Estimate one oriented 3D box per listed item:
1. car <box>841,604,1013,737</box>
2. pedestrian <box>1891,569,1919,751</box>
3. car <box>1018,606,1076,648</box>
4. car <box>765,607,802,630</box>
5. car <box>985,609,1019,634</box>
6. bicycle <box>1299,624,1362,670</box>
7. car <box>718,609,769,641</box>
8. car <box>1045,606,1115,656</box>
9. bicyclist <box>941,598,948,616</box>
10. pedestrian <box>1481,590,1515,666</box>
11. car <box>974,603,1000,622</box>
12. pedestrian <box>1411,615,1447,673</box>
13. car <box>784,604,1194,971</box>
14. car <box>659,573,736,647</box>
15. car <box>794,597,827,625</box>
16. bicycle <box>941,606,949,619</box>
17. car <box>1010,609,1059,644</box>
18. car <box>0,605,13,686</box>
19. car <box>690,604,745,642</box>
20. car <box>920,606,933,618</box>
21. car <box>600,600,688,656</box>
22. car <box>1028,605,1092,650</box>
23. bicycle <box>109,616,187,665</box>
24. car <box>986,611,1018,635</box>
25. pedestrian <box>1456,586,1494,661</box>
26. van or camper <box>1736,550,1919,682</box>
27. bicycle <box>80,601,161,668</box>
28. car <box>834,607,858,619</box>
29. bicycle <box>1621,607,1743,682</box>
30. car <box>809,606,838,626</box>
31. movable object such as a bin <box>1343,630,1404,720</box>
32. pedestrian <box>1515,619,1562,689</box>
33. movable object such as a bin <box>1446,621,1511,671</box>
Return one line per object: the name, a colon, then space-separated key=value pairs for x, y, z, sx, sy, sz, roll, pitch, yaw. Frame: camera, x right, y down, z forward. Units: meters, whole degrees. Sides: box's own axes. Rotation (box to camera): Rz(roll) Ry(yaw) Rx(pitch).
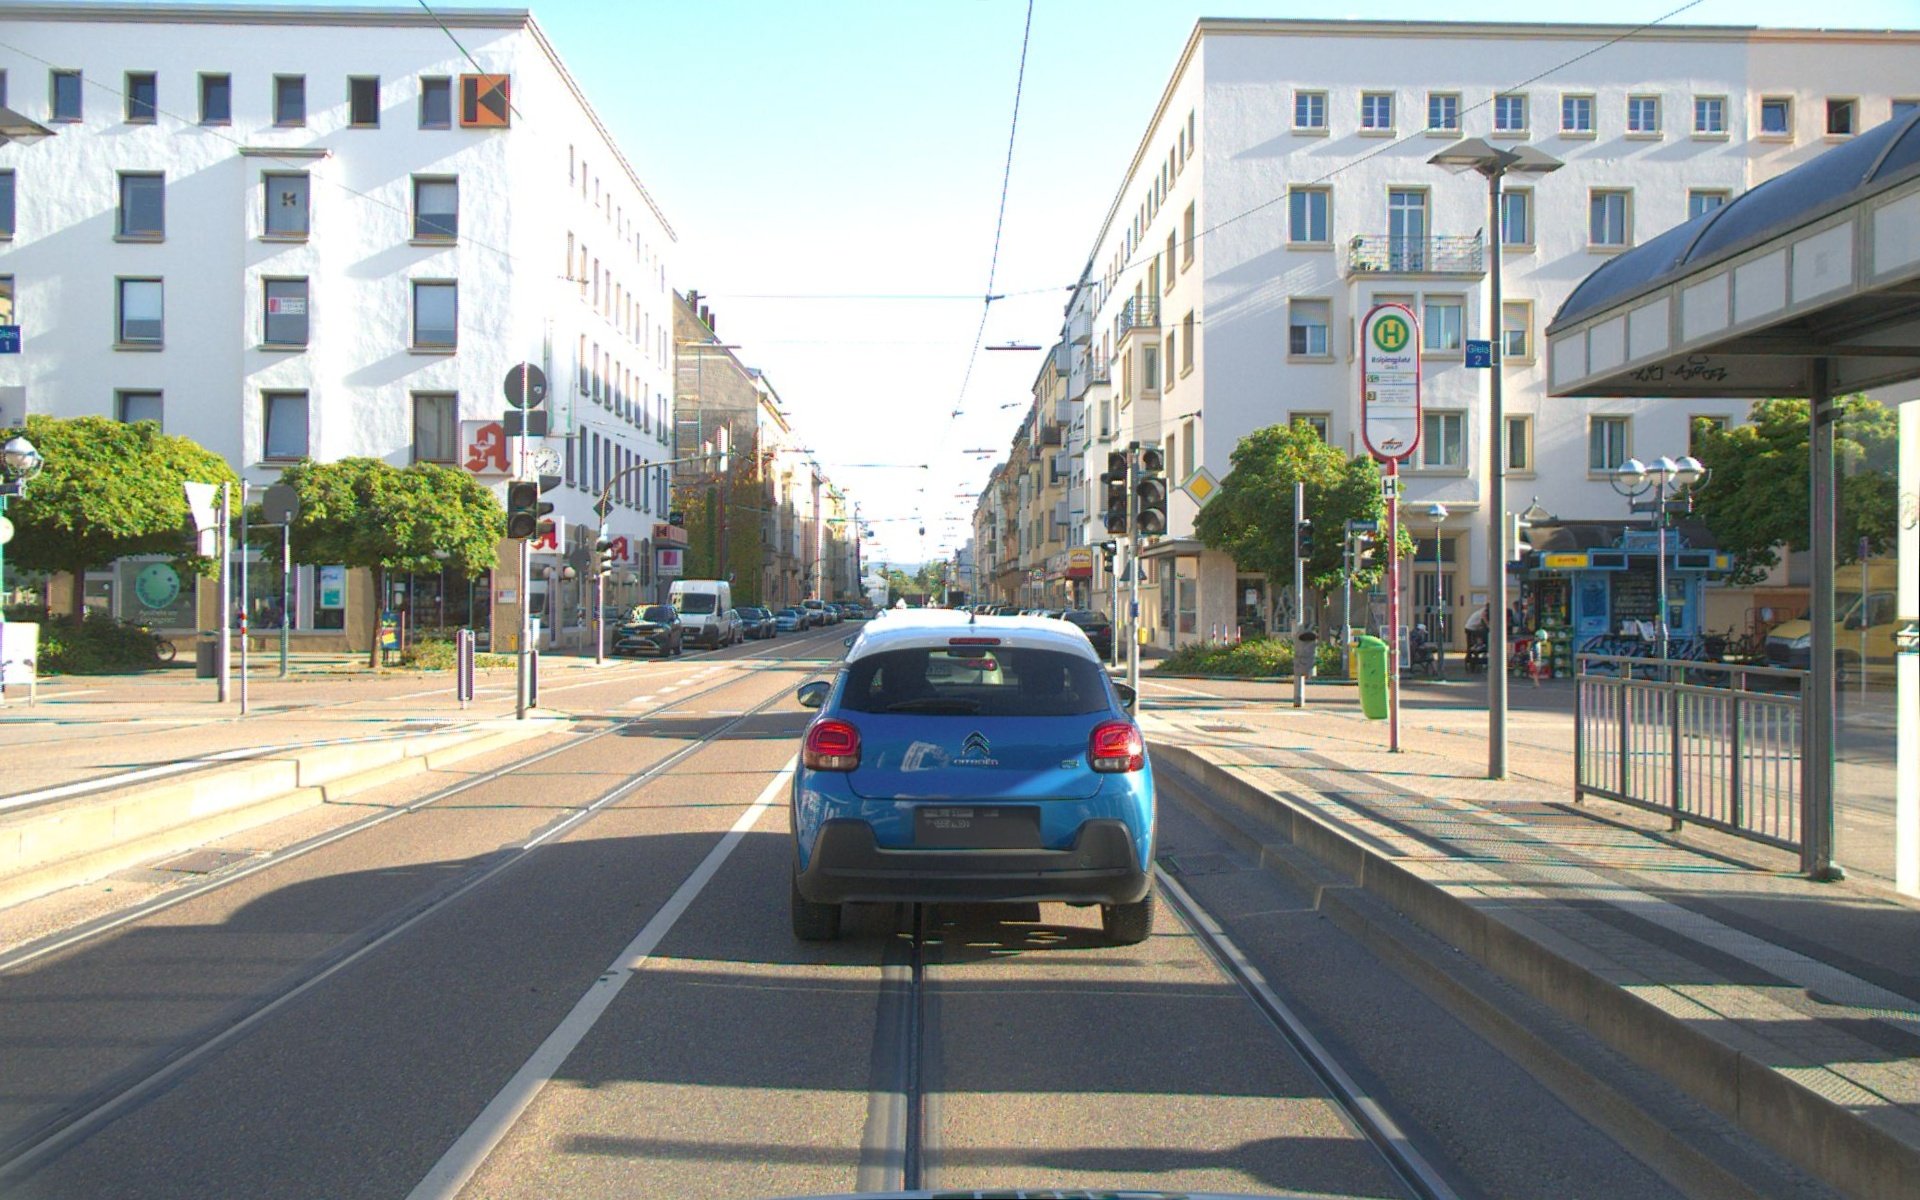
car: x=-0.419 y=0.815 z=21.276 sx=1.944 sy=1.490 sz=4.814 roll=1 pitch=0 yaw=-1
pedestrian: x=10.528 y=0.627 z=17.232 sx=0.961 sy=1.911 sz=1.128 roll=0 pitch=-1 yaw=-3
car: x=3.243 y=0.986 z=62.189 sx=1.953 sy=1.527 sz=3.999 roll=0 pitch=0 yaw=0
car: x=-10.918 y=1.157 z=102.376 sx=1.953 sy=1.348 sz=3.921 roll=1 pitch=-1 yaw=-2
car: x=2.550 y=1.292 z=101.425 sx=1.953 sy=1.490 sz=4.504 roll=0 pitch=0 yaw=0
bicycle: x=9.423 y=1.199 z=42.071 sx=1.534 sy=1.140 sz=0.300 roll=1 pitch=-1 yaw=10
car: x=-10.091 y=1.143 z=77.237 sx=1.953 sy=1.422 sz=4.155 roll=1 pitch=-1 yaw=-2
car: x=3.724 y=0.955 z=51.791 sx=1.870 sy=1.490 sz=3.999 roll=0 pitch=0 yaw=0
bicyclist: x=-1.787 y=0.825 z=188.299 sx=0.793 sy=2.049 sz=0.922 roll=1 pitch=-1 yaw=-2
pedestrian: x=13.303 y=0.689 z=40.943 sx=0.639 sy=1.871 sz=0.659 roll=0 pitch=-1 yaw=2
car: x=2.162 y=1.026 z=132.716 sx=1.953 sy=1.490 sz=3.999 roll=0 pitch=0 yaw=0
pedestrian: x=10.909 y=1.021 z=38.468 sx=0.725 sy=1.339 sz=0.628 roll=0 pitch=-1 yaw=22
car: x=0.092 y=0.795 z=8.827 sx=1.693 sy=1.508 sz=3.826 roll=1 pitch=0 yaw=-1
car: x=-9.746 y=0.369 z=61.948 sx=2.043 sy=2.586 sz=6.203 roll=1 pitch=0 yaw=-2
car: x=-11.359 y=0.844 z=125.903 sx=1.965 sy=2.049 sz=4.689 roll=1 pitch=-1 yaw=1
bicycle: x=-1.658 y=1.415 z=188.464 sx=0.901 sy=1.413 sz=3.131 roll=0 pitch=0 yaw=0
car: x=3.227 y=1.148 z=72.540 sx=1.953 sy=1.490 sz=3.999 roll=0 pitch=0 yaw=0
car: x=-22.392 y=0.972 z=34.748 sx=3.906 sy=1.736 sz=1.825 roll=0 pitch=0 yaw=-2
car: x=-10.057 y=0.957 z=68.692 sx=1.850 sy=1.522 sz=3.560 roll=1 pitch=-1 yaw=-2
car: x=-4.909 y=1.765 z=241.500 sx=1.953 sy=1.803 sz=3.999 roll=0 pitch=0 yaw=-1
car: x=-9.794 y=0.863 z=51.582 sx=1.953 sy=1.596 sz=4.401 roll=3 pitch=-1 yaw=-2
car: x=3.418 y=0.940 z=56.969 sx=1.953 sy=1.490 sz=3.999 roll=0 pitch=0 yaw=0
bicycle: x=-20.631 y=1.012 z=42.095 sx=0.605 sy=1.211 sz=2.621 roll=0 pitch=0 yaw=2
car: x=2.645 y=1.457 z=105.622 sx=1.953 sy=1.490 sz=3.999 roll=0 pitch=0 yaw=0
pedestrian: x=13.077 y=0.595 z=42.028 sx=0.768 sy=1.871 sz=0.678 roll=0 pitch=-1 yaw=2
van or camper: x=20.974 y=0.312 z=36.121 sx=6.976 sy=2.795 sz=2.371 roll=0 pitch=1 yaw=0
bicycle: x=-21.341 y=0.856 z=42.110 sx=0.605 sy=1.635 sz=2.621 roll=0 pitch=0 yaw=3
car: x=-10.532 y=1.201 z=153.435 sx=1.953 sy=1.176 sz=3.999 roll=0 pitch=0 yaw=0
bicycle: x=15.886 y=0.973 z=36.416 sx=2.336 sy=1.558 sz=0.726 roll=2 pitch=0 yaw=-2
car: x=-11.208 y=1.346 z=136.197 sx=1.914 sy=1.579 sz=3.938 roll=1 pitch=-1 yaw=1
movable object such as a bin: x=3.737 y=0.671 z=14.955 sx=0.439 sy=0.800 sz=0.489 roll=0 pitch=-1 yaw=2
pedestrian: x=12.485 y=1.158 z=35.707 sx=0.715 sy=1.434 sz=0.755 roll=0 pitch=3 yaw=-1
movable object such as a bin: x=12.447 y=1.085 z=39.754 sx=1.174 sy=1.173 sz=1.217 roll=0 pitch=0 yaw=0
